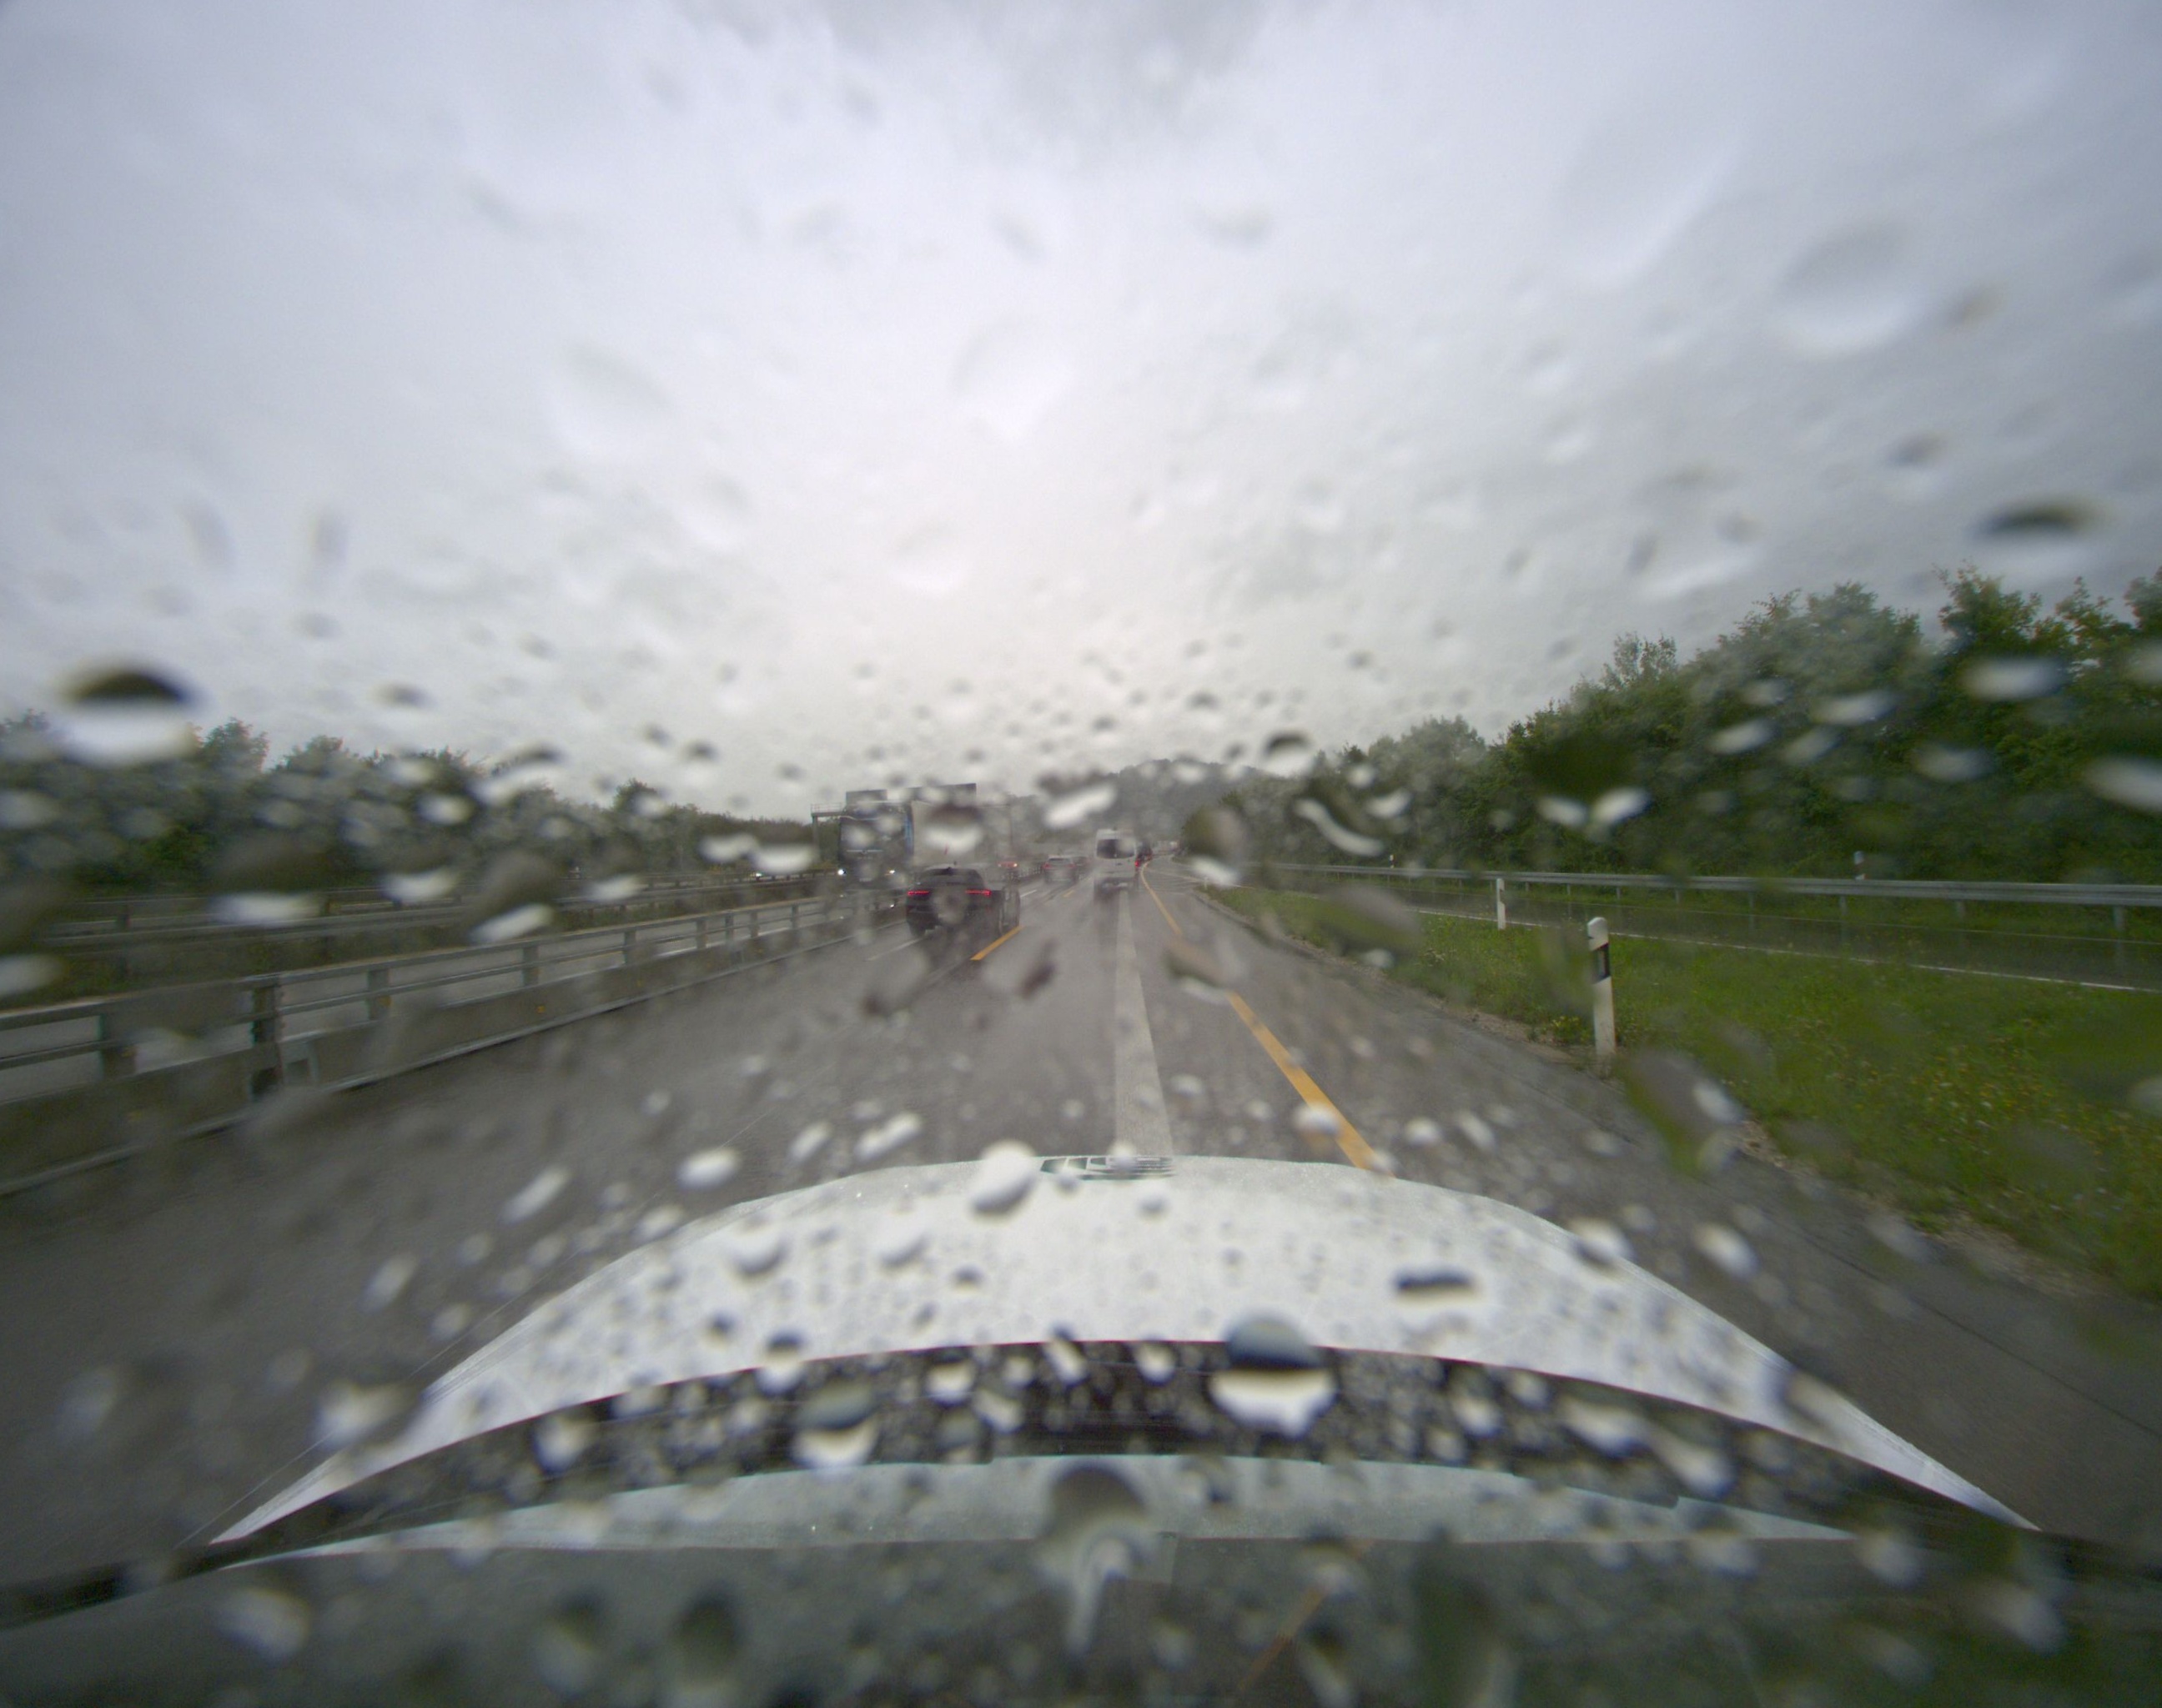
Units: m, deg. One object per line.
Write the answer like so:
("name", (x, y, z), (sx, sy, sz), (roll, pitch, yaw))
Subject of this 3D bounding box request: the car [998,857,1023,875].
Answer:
("car", (-6.106, 1.053, 71.022), (1.601, 1.504, 4.219), (0, -1, 3))

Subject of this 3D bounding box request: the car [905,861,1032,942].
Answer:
("car", (-2.167, 0.881, 17.045), (1.932, 1.427, 4.760), (0, 0, 1))

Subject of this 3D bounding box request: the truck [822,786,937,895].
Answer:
("truck", (-8.535, -0.507, 35.352), (2.876, 4.232, 6.333), (-2, -1, 4))

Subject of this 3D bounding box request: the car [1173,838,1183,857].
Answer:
("car", (22.249, -1.519, 186.268), (2.048, 4.192, 6.755), (-1, 0, 5))

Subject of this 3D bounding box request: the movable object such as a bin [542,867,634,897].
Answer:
("movable object such as a bin", (-25.113, 1.419, 41.701), (2.117, 1.425, 4.003), (0, -1, 3))

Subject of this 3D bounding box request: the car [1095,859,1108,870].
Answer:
("car", (2.285, 1.143, 90.062), (1.257, 1.078, 3.256), (-1, 0, 2))

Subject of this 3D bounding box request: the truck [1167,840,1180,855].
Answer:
("truck", (29.621, -1.979, 259.311), (3.907, 4.785, 9.927), (0, -1, 7))

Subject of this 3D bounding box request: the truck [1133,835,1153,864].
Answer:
("truck", (10.667, -0.721, 140.826), (3.307, 4.785, 9.914), (0, -1, 3))

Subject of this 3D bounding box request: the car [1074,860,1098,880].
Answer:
("car", (0.448, 1.290, 66.136), (1.845, 1.500, 4.002), (-1, 0, 2))

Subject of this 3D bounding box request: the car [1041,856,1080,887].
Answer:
("car", (-1.149, 0.983, 46.664), (1.859, 1.659, 3.992), (-1, 0, 3))

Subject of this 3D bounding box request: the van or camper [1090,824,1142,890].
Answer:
("van or camper", (1.582, 0.142, 36.510), (2.131, 2.721, 4.651), (-1, 0, 2))

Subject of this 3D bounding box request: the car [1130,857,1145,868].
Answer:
("car", (6.467, 0.999, 93.557), (1.380, 1.256, 3.121), (-1, 0, -1))

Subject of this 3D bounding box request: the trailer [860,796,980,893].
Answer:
("trailer", (-8.010, -0.354, 42.890), (2.880, 4.286, 12.907), (-2, -1, 4))

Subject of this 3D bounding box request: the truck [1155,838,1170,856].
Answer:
("truck", (22.169, -1.916, 221.065), (3.907, 4.785, 9.927), (0, -1, 7))

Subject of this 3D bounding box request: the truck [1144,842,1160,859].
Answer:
("truck", (15.840, -0.745, 182.102), (3.307, 3.762, 9.914), (0, -1, 3))
